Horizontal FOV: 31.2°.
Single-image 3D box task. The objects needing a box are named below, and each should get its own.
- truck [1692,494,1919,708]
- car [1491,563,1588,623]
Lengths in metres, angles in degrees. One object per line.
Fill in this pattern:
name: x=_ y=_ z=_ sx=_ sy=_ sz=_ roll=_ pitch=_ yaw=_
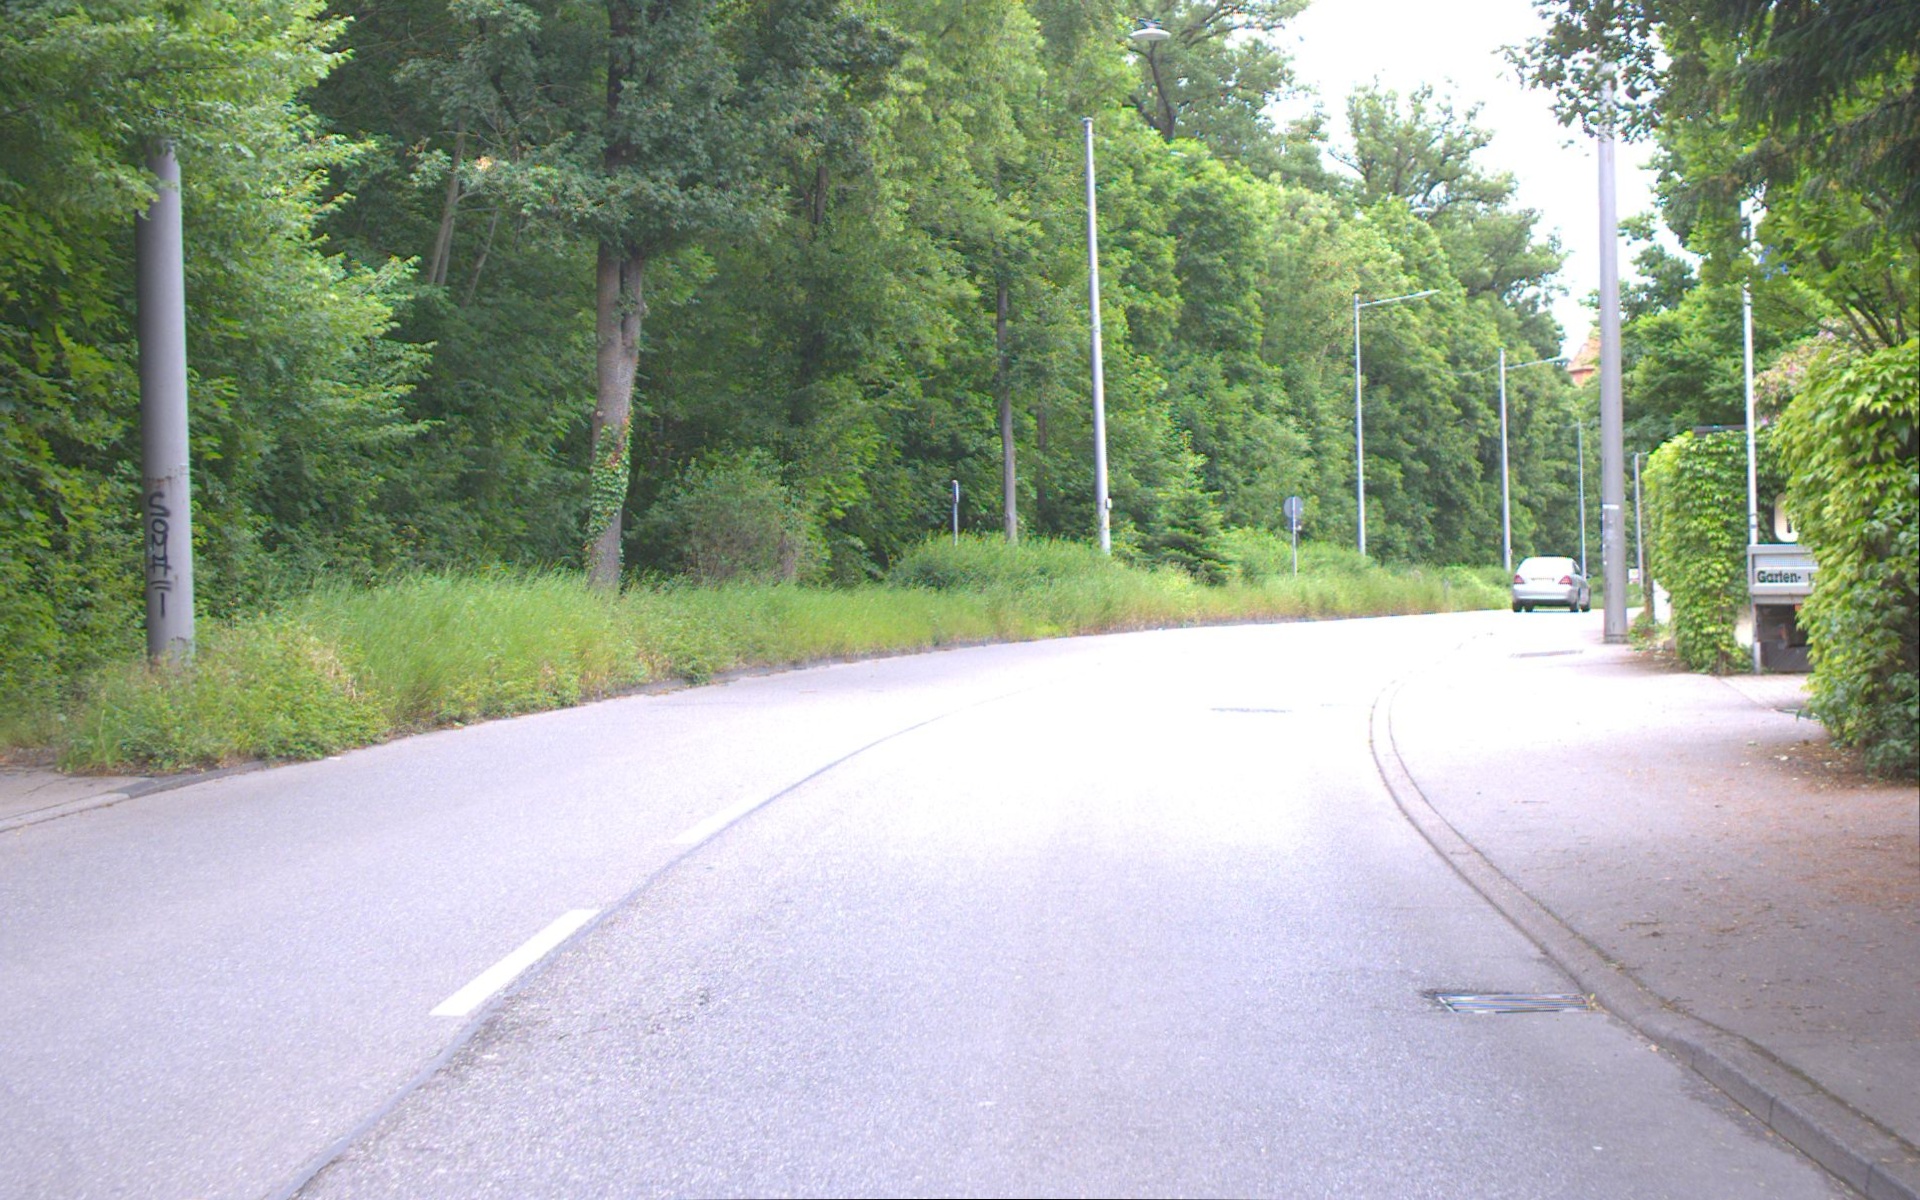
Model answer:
truck: x=7.611 y=-0.012 z=28.525 sx=1.350 sy=1.684 sz=3.060 roll=-1 pitch=1 yaw=-27
car: x=15.072 y=-0.203 z=89.320 sx=1.995 sy=1.481 sz=3.997 roll=0 pitch=1 yaw=17
